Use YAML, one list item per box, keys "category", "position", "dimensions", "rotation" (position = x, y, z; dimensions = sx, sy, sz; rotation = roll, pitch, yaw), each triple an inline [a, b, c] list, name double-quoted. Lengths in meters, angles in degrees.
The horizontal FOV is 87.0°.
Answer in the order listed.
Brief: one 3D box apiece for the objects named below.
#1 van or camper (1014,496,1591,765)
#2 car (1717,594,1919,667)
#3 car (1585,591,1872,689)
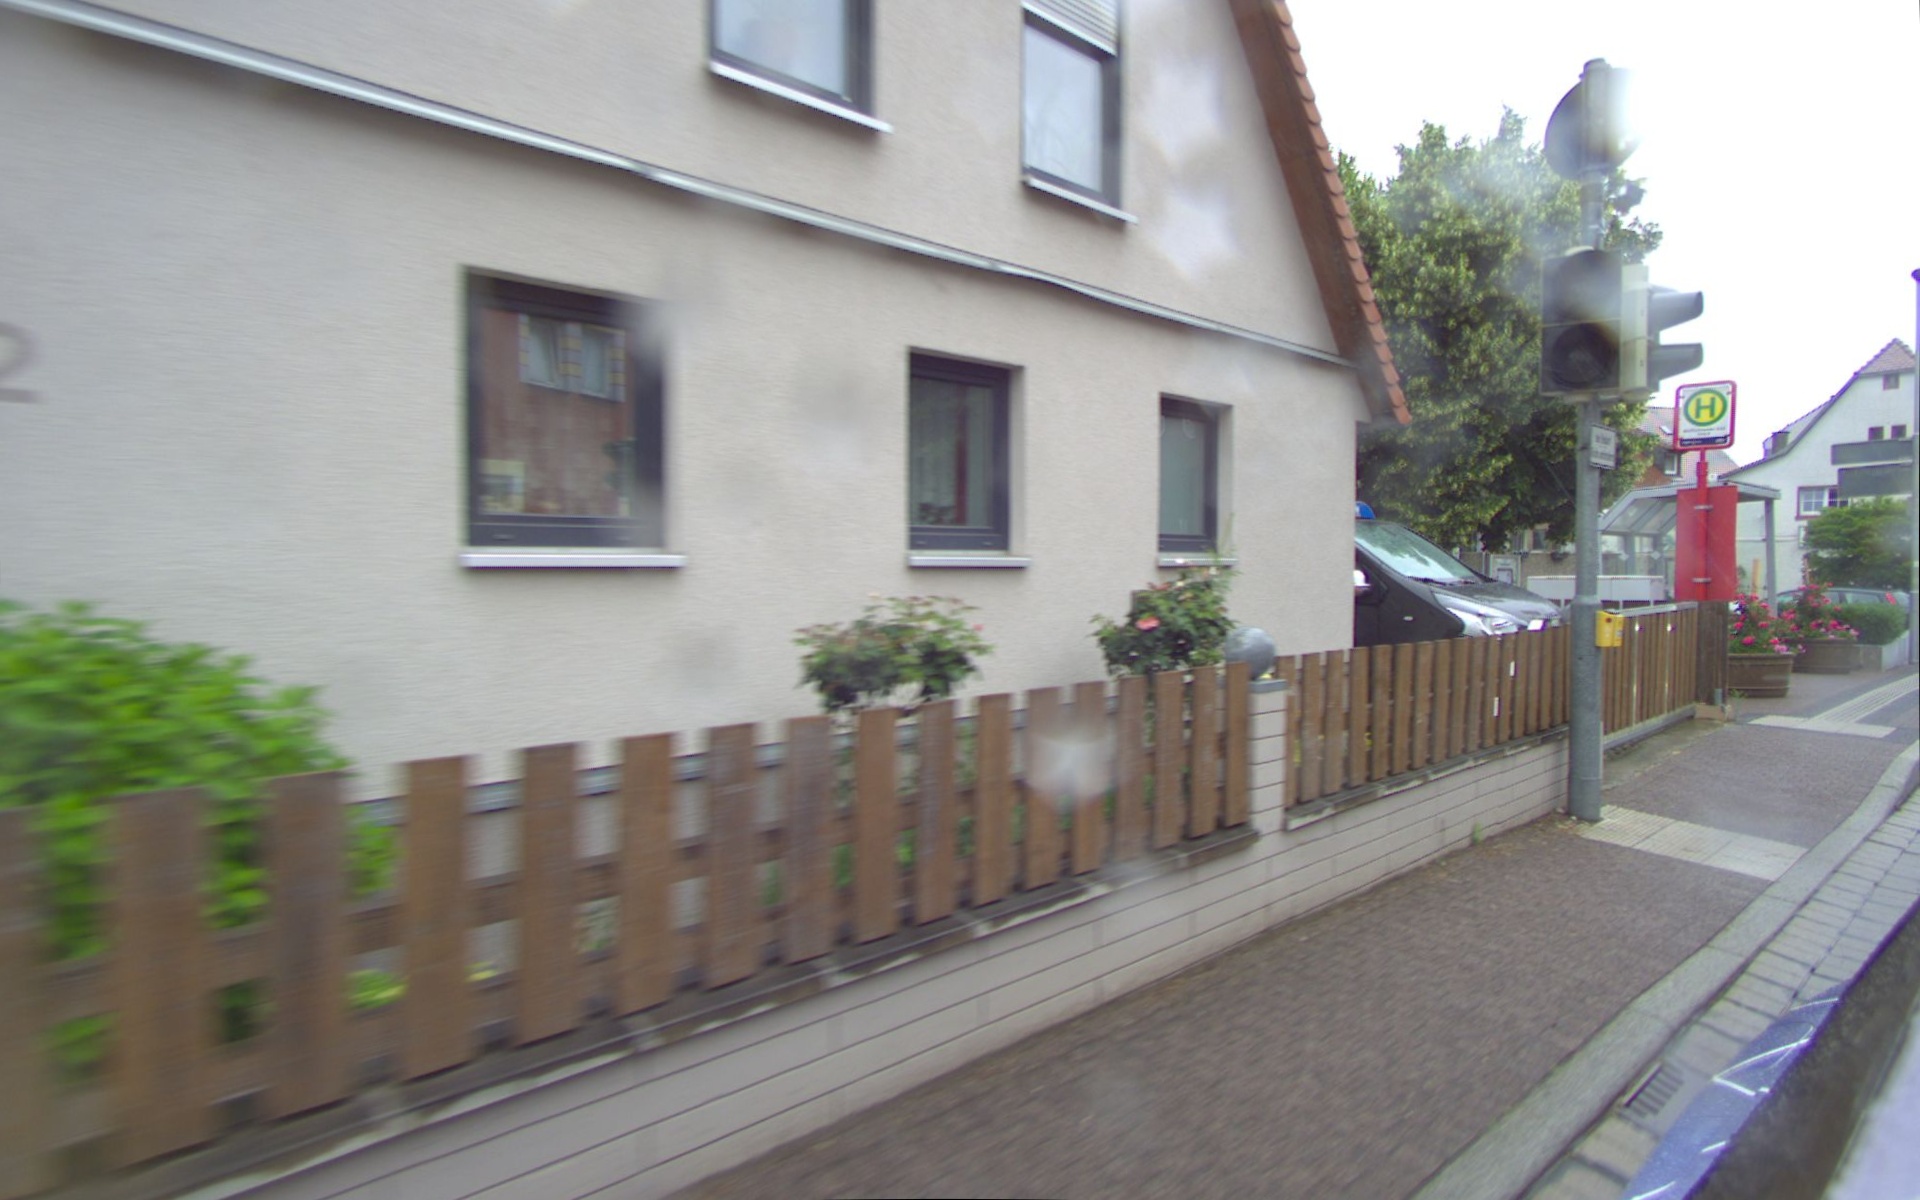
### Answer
- category: "van or camper"
  position: [2.980, 0.202, 9.839]
  dimensions: [1.844, 1.947, 5.074]
  rotation: [0, 0, -43]
- category: "car"
  position: [21.285, 0.668, 24.674]
  dimensions: [1.660, 1.498, 4.251]
  rotation: [0, 2, -25]
- category: "car"
  position: [14.929, 0.689, 19.932]
  dimensions: [1.819, 1.609, 4.089]
  rotation: [0, 2, -26]
